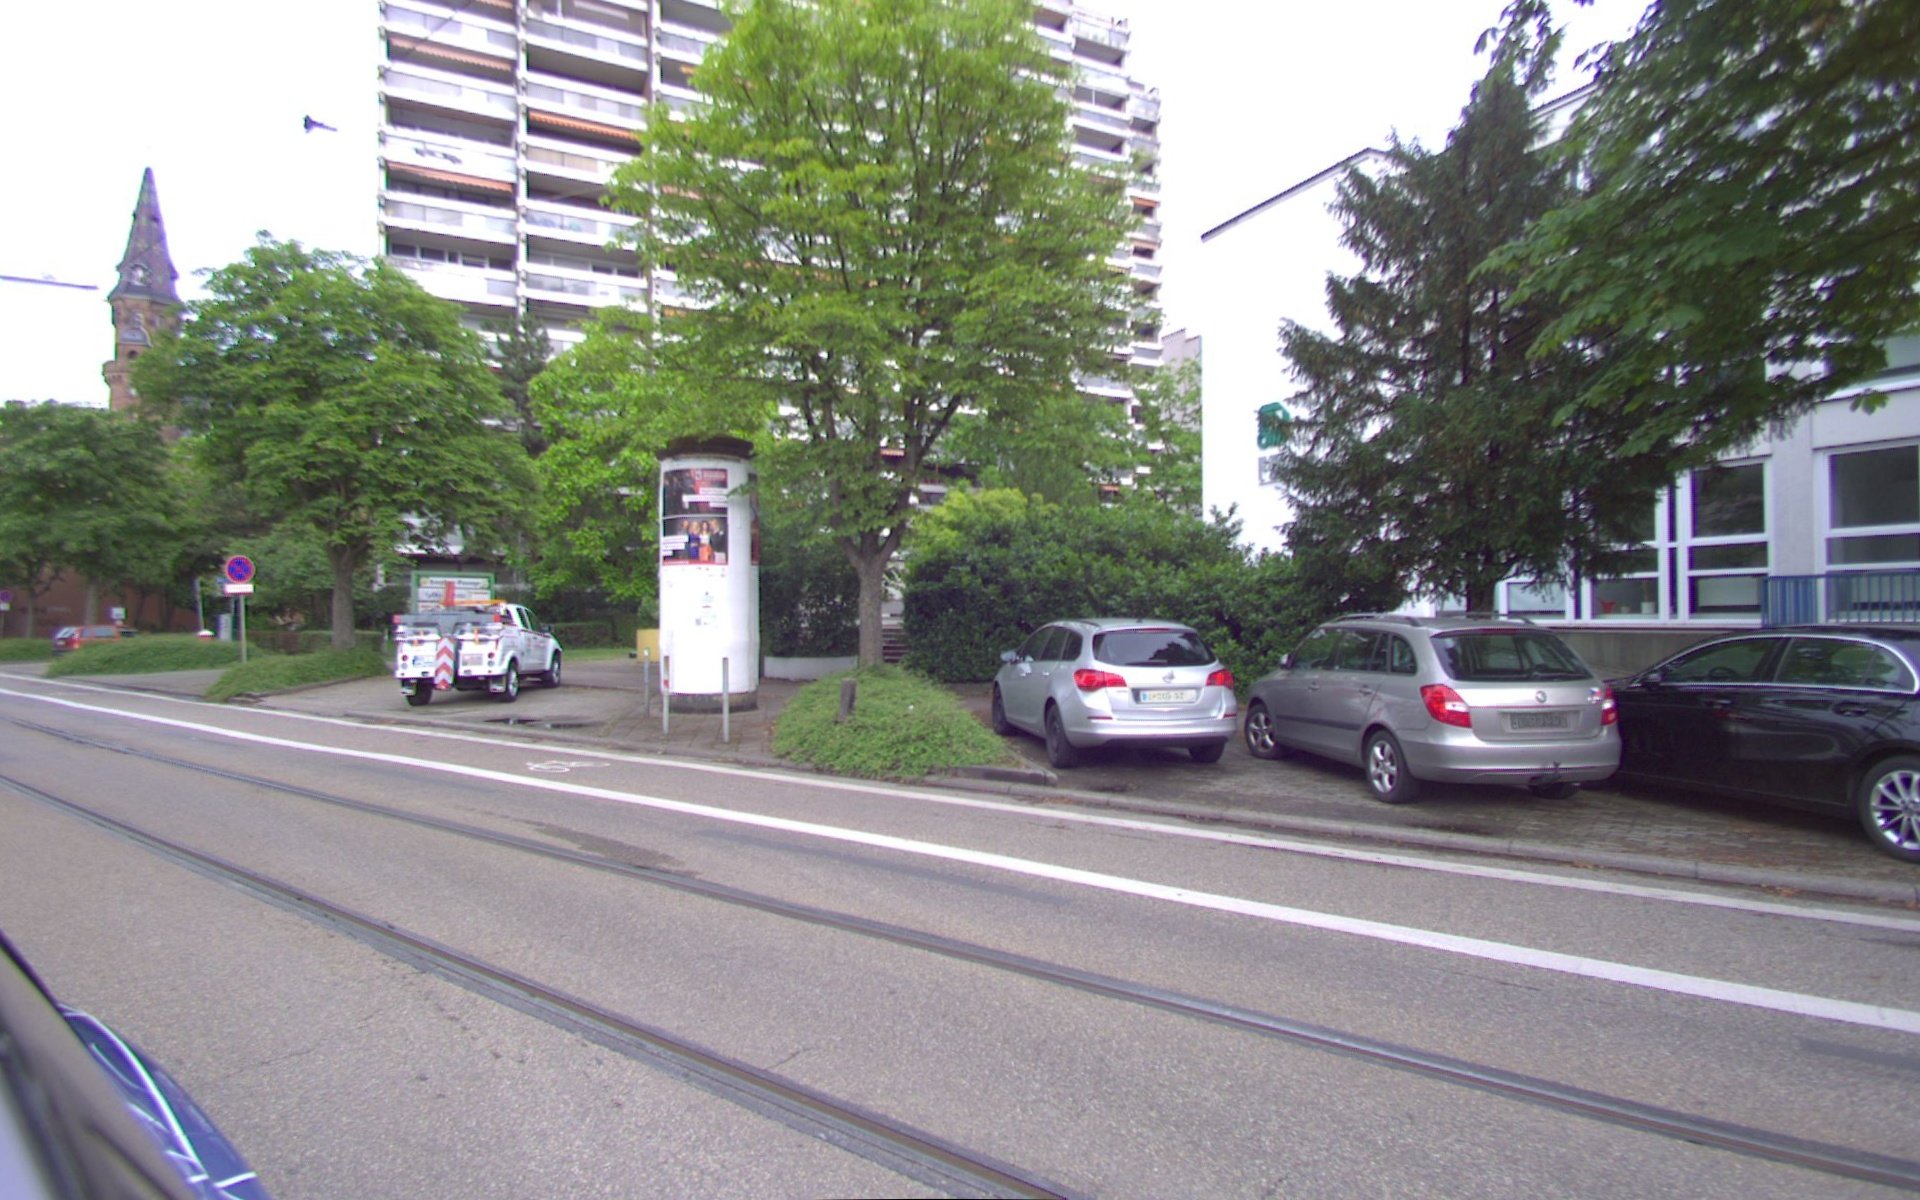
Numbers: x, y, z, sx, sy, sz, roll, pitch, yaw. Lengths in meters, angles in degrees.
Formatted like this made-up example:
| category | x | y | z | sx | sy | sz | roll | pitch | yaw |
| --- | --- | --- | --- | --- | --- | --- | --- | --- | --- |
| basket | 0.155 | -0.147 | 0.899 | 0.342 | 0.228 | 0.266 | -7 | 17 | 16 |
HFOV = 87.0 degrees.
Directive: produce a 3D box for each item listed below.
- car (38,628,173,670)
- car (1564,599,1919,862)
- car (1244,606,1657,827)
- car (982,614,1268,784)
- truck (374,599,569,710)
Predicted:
| category | x | y | z | sx | sy | sz | roll | pitch | yaw |
| --- | --- | --- | --- | --- | --- | --- | --- | --- | --- |
| car | -31.420 | 1.770 | 37.329 | 1.624 | 1.387 | 3.476 | 0 | 0 | 23 |
| car | 6.351 | 0.770 | 7.078 | 1.673 | 1.535 | 3.712 | -1 | 0 | -7 |
| car | 4.045 | 0.839 | 9.081 | 1.548 | 1.535 | 3.657 | -1 | 0 | -7 |
| car | 1.574 | 0.921 | 11.398 | 1.774 | 1.476 | 4.442 | 0 | 0 | -10 |
| truck | -9.356 | 0.972 | 19.916 | 1.968 | 1.862 | 5.072 | -1 | -1 | -7 |
